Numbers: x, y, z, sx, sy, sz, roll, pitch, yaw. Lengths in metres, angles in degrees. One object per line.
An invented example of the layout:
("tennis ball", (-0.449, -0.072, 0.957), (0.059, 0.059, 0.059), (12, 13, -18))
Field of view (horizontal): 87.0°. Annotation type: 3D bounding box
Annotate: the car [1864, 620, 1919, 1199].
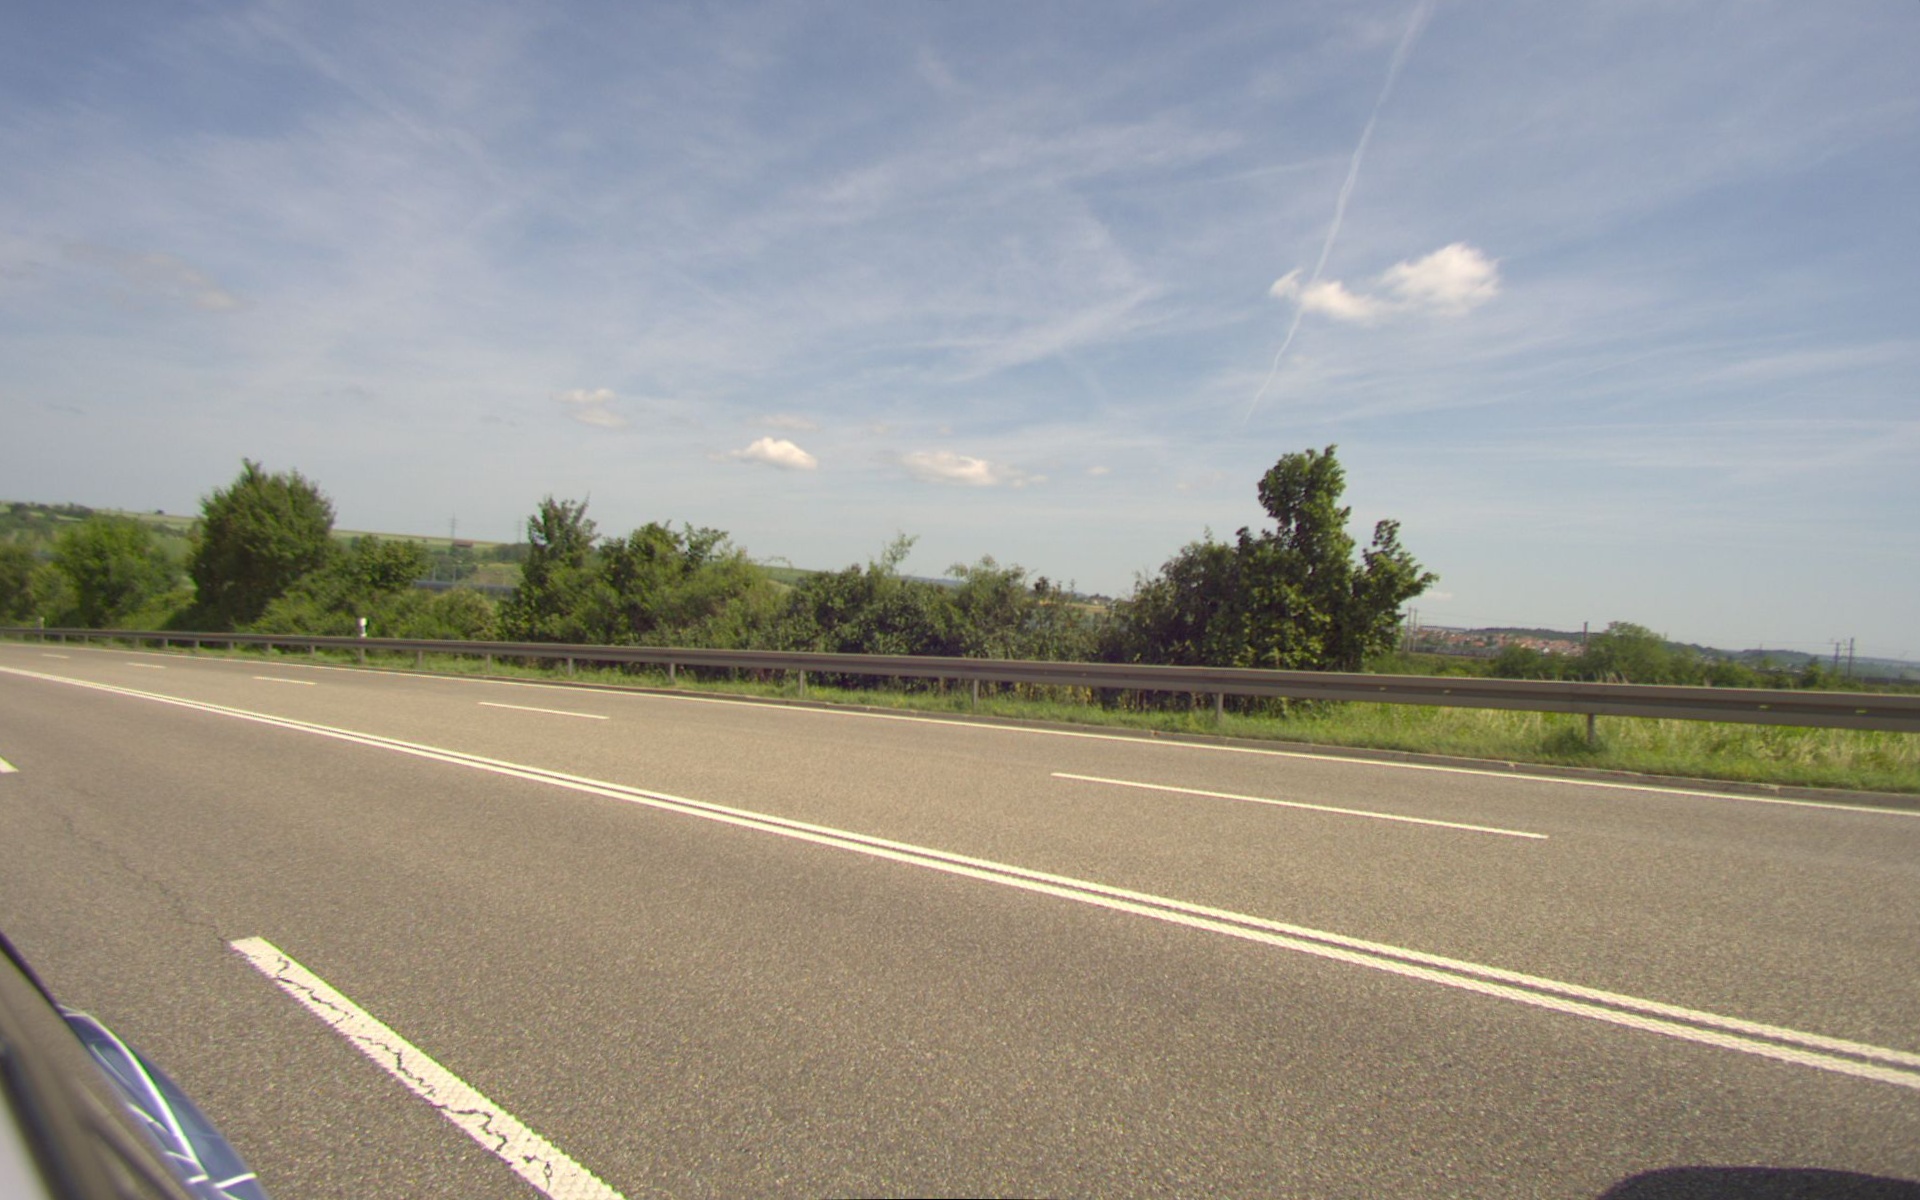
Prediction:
("car", (3.571, 0.706, 0.505), (4.601, 1.386, 1.685), (-1, -1, 42))
